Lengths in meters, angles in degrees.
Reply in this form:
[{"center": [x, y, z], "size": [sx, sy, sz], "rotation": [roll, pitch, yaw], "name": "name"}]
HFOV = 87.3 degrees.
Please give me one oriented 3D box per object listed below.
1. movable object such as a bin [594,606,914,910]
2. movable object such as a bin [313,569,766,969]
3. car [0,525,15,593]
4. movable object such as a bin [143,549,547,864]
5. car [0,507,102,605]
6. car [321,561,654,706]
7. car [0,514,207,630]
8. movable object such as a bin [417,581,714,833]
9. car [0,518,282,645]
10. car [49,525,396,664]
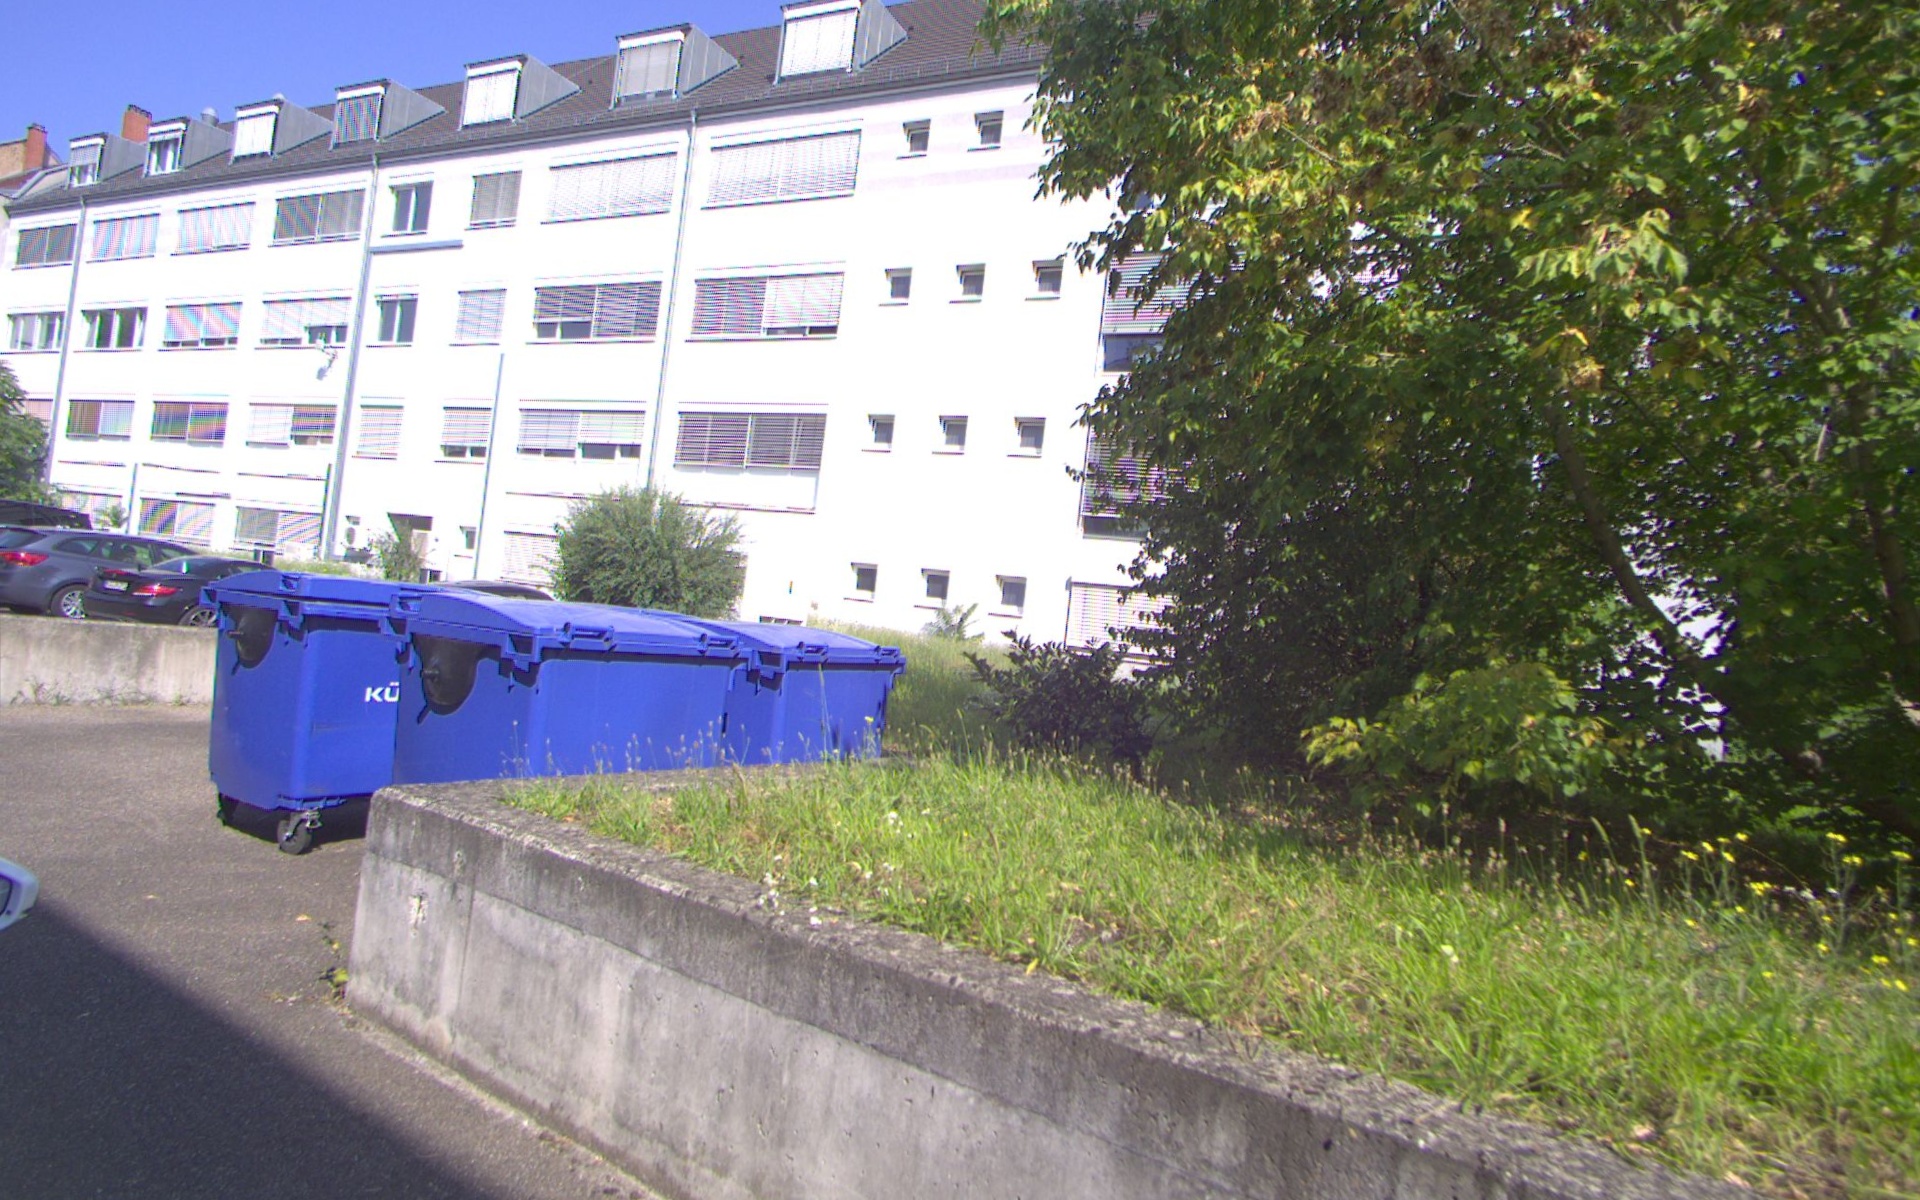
[{"center": [-1.083, 0.811, 5.543], "size": [1.058, 1.355, 1.230], "rotation": [5, -3, 27], "name": "movable object such as a bin"}, {"center": [-1.764, 0.659, 4.405], "size": [1.081, 1.355, 1.313], "rotation": [5, -3, 28], "name": "movable object such as a bin"}, {"center": [-22.876, -1.135, 21.123], "size": [1.742, 1.499, 3.947], "rotation": [5, -3, 22], "name": "car"}, {"center": [-3.208, 0.526, 5.337], "size": [1.175, 1.355, 1.303], "rotation": [5, -3, 30], "name": "movable object such as a bin"}, {"center": [-20.276, -1.062, 19.932], "size": [1.849, 1.814, 4.518], "rotation": [5, -3, 22], "name": "car"}, {"center": [-6.135, 0.428, 13.453], "size": [1.772, 1.565, 3.622], "rotation": [5, 1, 29], "name": "car"}, {"center": [-16.516, -0.550, 18.216], "size": [1.741, 1.710, 4.130], "rotation": [5, -4, 28], "name": "car"}, {"center": [-2.499, 0.662, 6.454], "size": [1.099, 1.355, 1.236], "rotation": [5, -3, 35], "name": "movable object such as a bin"}, {"center": [-14.069, -0.257, 16.932], "size": [1.846, 1.606, 3.876], "rotation": [5, -4, 26], "name": "car"}, {"center": [-11.197, 0.015, 15.614], "size": [1.862, 1.606, 3.815], "rotation": [5, -3, 22], "name": "car"}]
